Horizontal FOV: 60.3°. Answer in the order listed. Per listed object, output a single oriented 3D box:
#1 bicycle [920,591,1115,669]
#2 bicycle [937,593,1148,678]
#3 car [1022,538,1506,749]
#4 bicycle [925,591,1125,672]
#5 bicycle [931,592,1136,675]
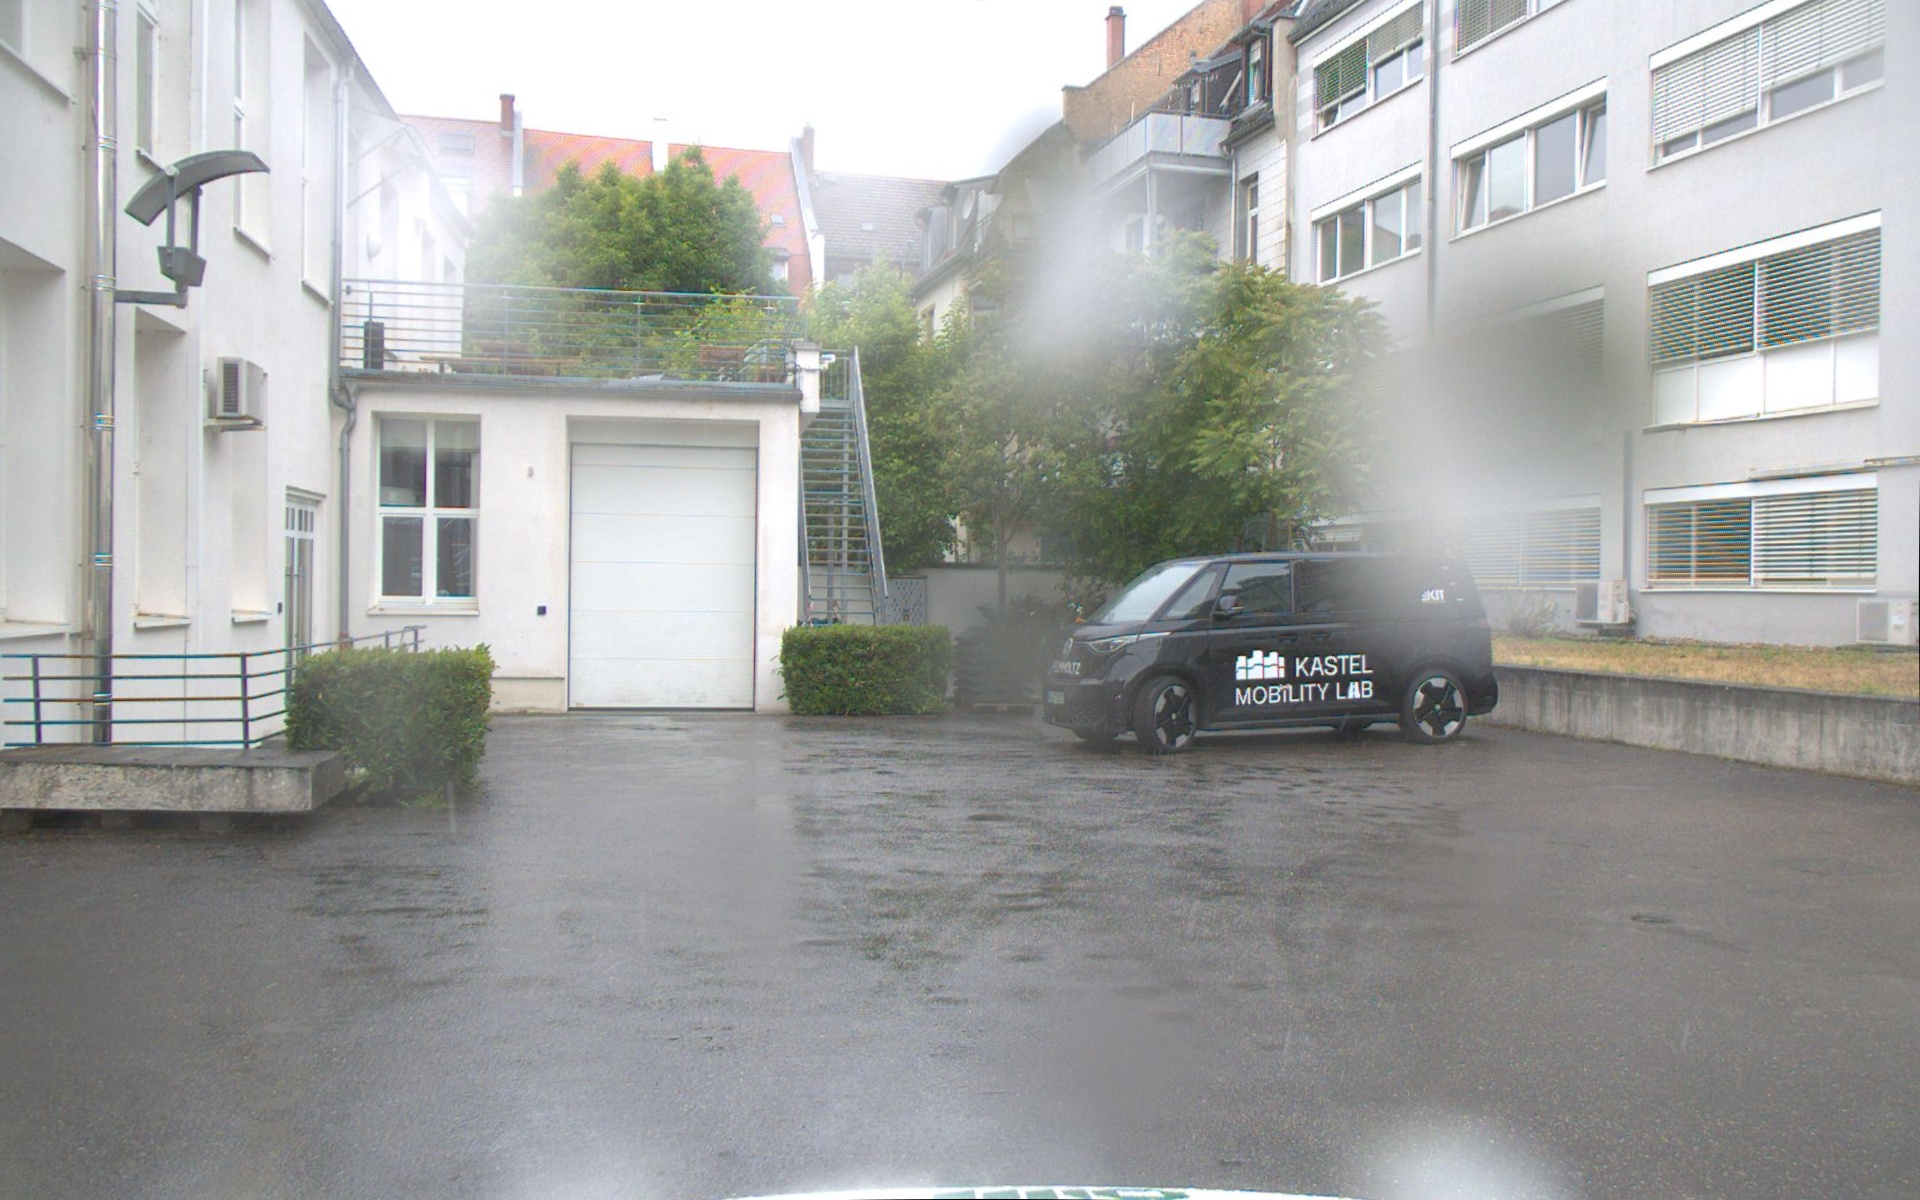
[{"bbox_3d":[0.942,0.487,27.201,3.158,1.263,0.629,0,-1,-13],"label":"bicycle"},{"bbox_3d":[1.261,0.533,25.205,3.158,1.263,0.629,0,-1,-13],"label":"bicycle"},{"bbox_3d":[3.044,0.409,16.805,4.437,1.930,2.036,0,0,-18],"label":"car"},{"bbox_3d":[1.051,0.502,26.559,3.158,1.263,0.629,0,-1,-13],"label":"bicycle"},{"bbox_3d":[1.158,0.517,25.896,3.158,1.263,0.629,0,-1,-13],"label":"bicycle"}]
